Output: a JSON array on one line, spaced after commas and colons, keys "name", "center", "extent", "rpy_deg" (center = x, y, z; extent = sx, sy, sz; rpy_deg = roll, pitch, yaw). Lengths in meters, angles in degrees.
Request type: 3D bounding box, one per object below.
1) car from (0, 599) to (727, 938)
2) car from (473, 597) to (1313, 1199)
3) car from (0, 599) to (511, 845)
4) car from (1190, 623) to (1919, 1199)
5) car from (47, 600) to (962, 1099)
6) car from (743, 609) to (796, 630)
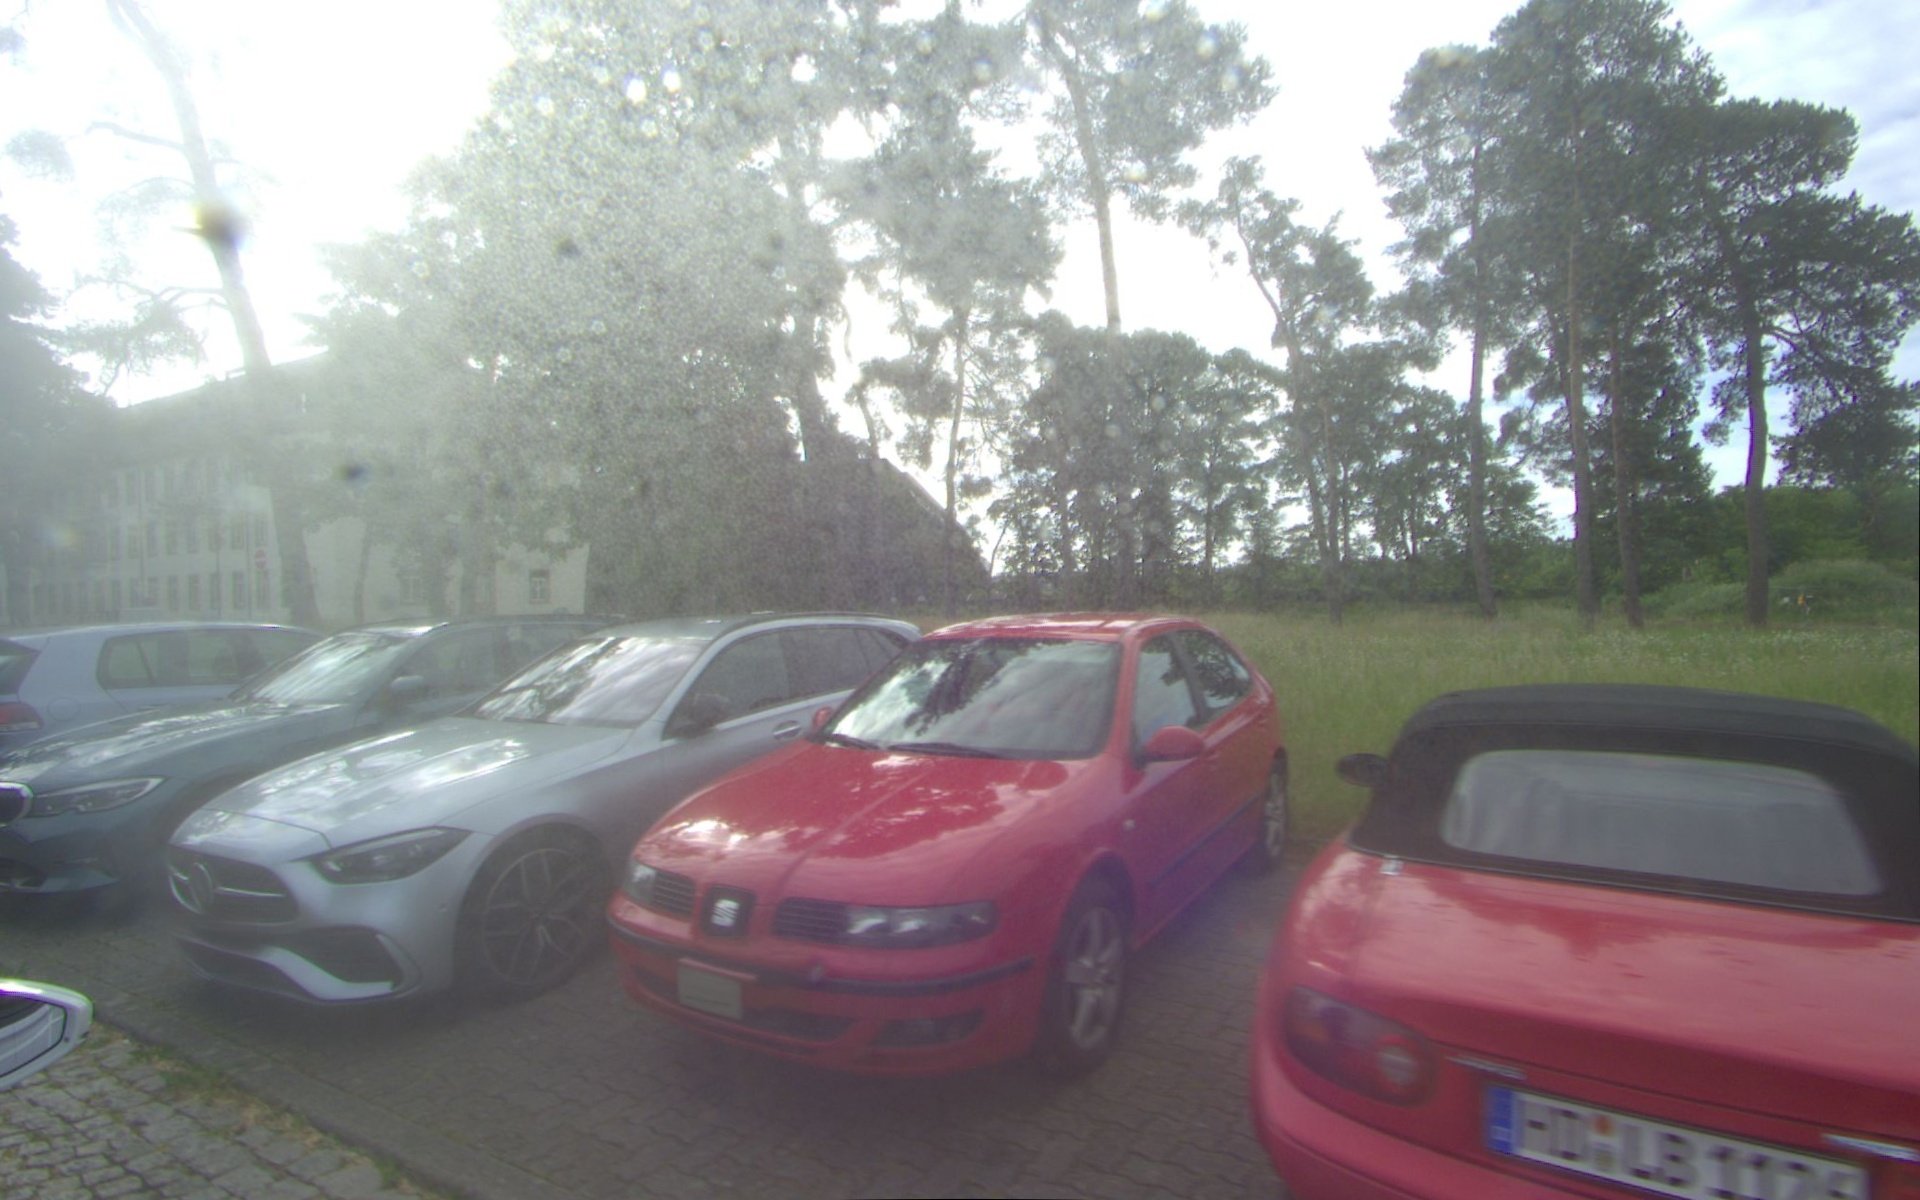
[{"name": "car", "center": [-3.977, 0.793, 7.135], "extent": [1.842, 1.436, 4.674], "rpy_deg": [-1, 2, 29]}, {"name": "car", "center": [0.262, 0.777, 4.710], "extent": [1.843, 1.436, 4.253], "rpy_deg": [-1, 2, 31]}, {"name": "car", "center": [-6.053, 0.809, 8.369], "extent": [1.619, 1.497, 3.917], "rpy_deg": [0, 2, 33]}, {"name": "car", "center": [2.133, 0.793, 3.072], "extent": [1.732, 1.253, 3.855], "rpy_deg": [-1, 2, 30]}, {"name": "car", "center": [-1.771, 0.798, 5.522], "extent": [1.841, 1.436, 4.419], "rpy_deg": [-1, 1, 26]}, {"name": "car", "center": [-14.372, 1.486, 75.673], "extent": [1.627, 1.439, 3.940], "rpy_deg": [-1, -3, 34]}]
